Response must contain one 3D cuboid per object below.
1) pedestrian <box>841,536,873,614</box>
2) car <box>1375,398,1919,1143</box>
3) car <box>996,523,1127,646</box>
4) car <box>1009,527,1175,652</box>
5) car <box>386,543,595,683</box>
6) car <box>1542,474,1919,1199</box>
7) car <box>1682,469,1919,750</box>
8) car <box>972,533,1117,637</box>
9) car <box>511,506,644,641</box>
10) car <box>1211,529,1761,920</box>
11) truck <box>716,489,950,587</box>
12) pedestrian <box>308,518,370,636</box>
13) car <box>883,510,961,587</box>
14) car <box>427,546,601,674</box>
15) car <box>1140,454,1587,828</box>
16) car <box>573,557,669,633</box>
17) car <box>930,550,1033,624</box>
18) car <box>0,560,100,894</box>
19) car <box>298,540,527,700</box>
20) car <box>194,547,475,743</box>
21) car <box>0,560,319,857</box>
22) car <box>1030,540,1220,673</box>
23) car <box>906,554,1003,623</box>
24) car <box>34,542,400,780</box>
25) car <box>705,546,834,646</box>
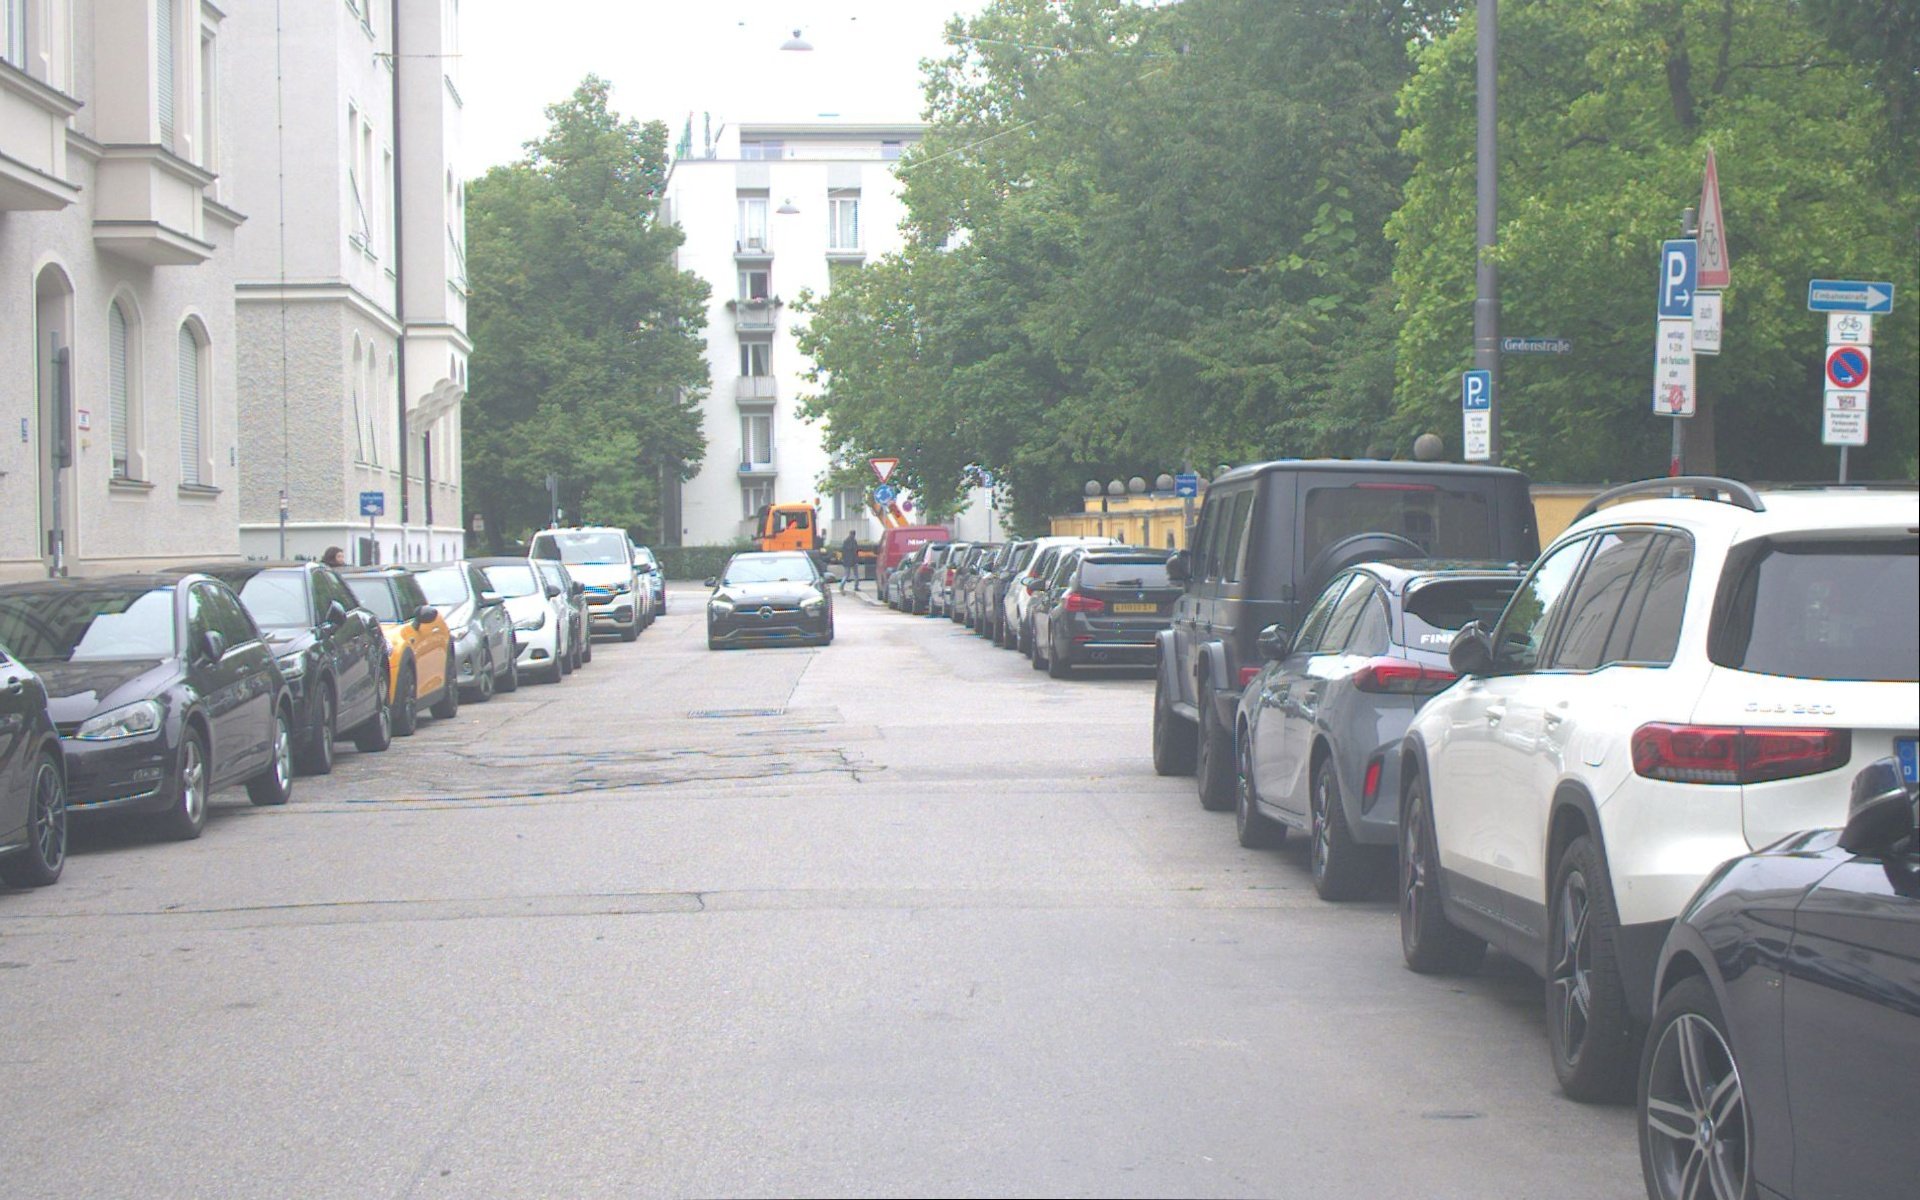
[{"bbox_3d":[-3.013,-0.731,100.602,0.840,2.277,0.844,-1,0,2],"label":"pedestrian"},{"bbox_3d":[2.429,0.415,10.435,1.723,1.763,4.413,2,0,0],"label":"car"},{"bbox_3d":[1.389,-0.208,48.291,1.513,1.656,3.674,0,0,-3],"label":"car"},{"bbox_3d":[1.634,-0.130,43.565,1.652,1.513,3.795,0,0,-5],"label":"car"},{"bbox_3d":[-5.482,0.111,40.635,1.836,1.433,4.275,-4,1,-1],"label":"car"},{"bbox_3d":[2.358,0.614,5.561,1.750,1.605,4.425,1,1,-4],"label":"car"},{"bbox_3d":[7.887,-0.009,25.544,4.528,1.943,1.904,-2,2,-7],"label":"car"},{"bbox_3d":[1.275,-0.231,53.480,1.838,1.546,3.948,0,0,-5],"label":"car"},{"bbox_3d":[-6.529,-0.477,59.122,1.886,2.120,4.707,-4,1,-3],"label":"car"},{"bbox_3d":[2.234,0.492,15.528,1.722,1.513,3.631,2,0,-3],"label":"car"},{"bbox_3d":[-4.436,-2.174,119.963,7.668,3.230,2.900,-1,1,-14],"label":"truck"},{"bbox_3d":[-8.928,-0.334,49.417,0.792,1.673,0.700,0,1,-4],"label":"pedestrian"},{"bbox_3d":[-0.963,-1.340,88.943,1.836,1.920,4.005,2,1,1],"label":"car"},{"bbox_3d":[-5.840,0.095,45.448,1.836,1.494,4.275,-4,1,-2],"label":"car"},{"bbox_3d":[2.238,0.150,20.349,1.950,1.947,4.666,0,2,-2],"label":"car"},{"bbox_3d":[-8.132,-0.142,82.762,2.015,1.628,4.414,-4,1,-3],"label":"car"},{"bbox_3d":[0.425,-0.269,73.000,1.838,1.513,3.948,0,0,-5],"label":"car"},{"bbox_3d":[-5.078,0.600,14.561,1.833,1.429,4.554,-3,1,-2],"label":"car"},{"bbox_3d":[-5.626,0.187,35.740,1.726,1.494,3.930,-2,0,-1],"label":"car"},{"bbox_3d":[-5.409,0.338,30.168,1.640,1.494,3.972,-4,1,0],"label":"car"},{"bbox_3d":[-4.999,0.561,19.644,1.836,1.431,4.245,-4,1,-1],"label":"car"},{"bbox_3d":[1.789,0.063,38.557,1.838,1.408,4.343,0,0,-1],"label":"car"},{"bbox_3d":[-0.148,-0.253,76.980,1.838,1.513,3.948,0,0,-5],"label":"car"},{"bbox_3d":[-5.291,0.371,24.977,1.753,1.494,4.019,-3,1,-1],"label":"car"},{"bbox_3d":[-2.937,-0.081,52.816,1.874,1.423,4.409,-1,1,-3],"label":"car"}]
